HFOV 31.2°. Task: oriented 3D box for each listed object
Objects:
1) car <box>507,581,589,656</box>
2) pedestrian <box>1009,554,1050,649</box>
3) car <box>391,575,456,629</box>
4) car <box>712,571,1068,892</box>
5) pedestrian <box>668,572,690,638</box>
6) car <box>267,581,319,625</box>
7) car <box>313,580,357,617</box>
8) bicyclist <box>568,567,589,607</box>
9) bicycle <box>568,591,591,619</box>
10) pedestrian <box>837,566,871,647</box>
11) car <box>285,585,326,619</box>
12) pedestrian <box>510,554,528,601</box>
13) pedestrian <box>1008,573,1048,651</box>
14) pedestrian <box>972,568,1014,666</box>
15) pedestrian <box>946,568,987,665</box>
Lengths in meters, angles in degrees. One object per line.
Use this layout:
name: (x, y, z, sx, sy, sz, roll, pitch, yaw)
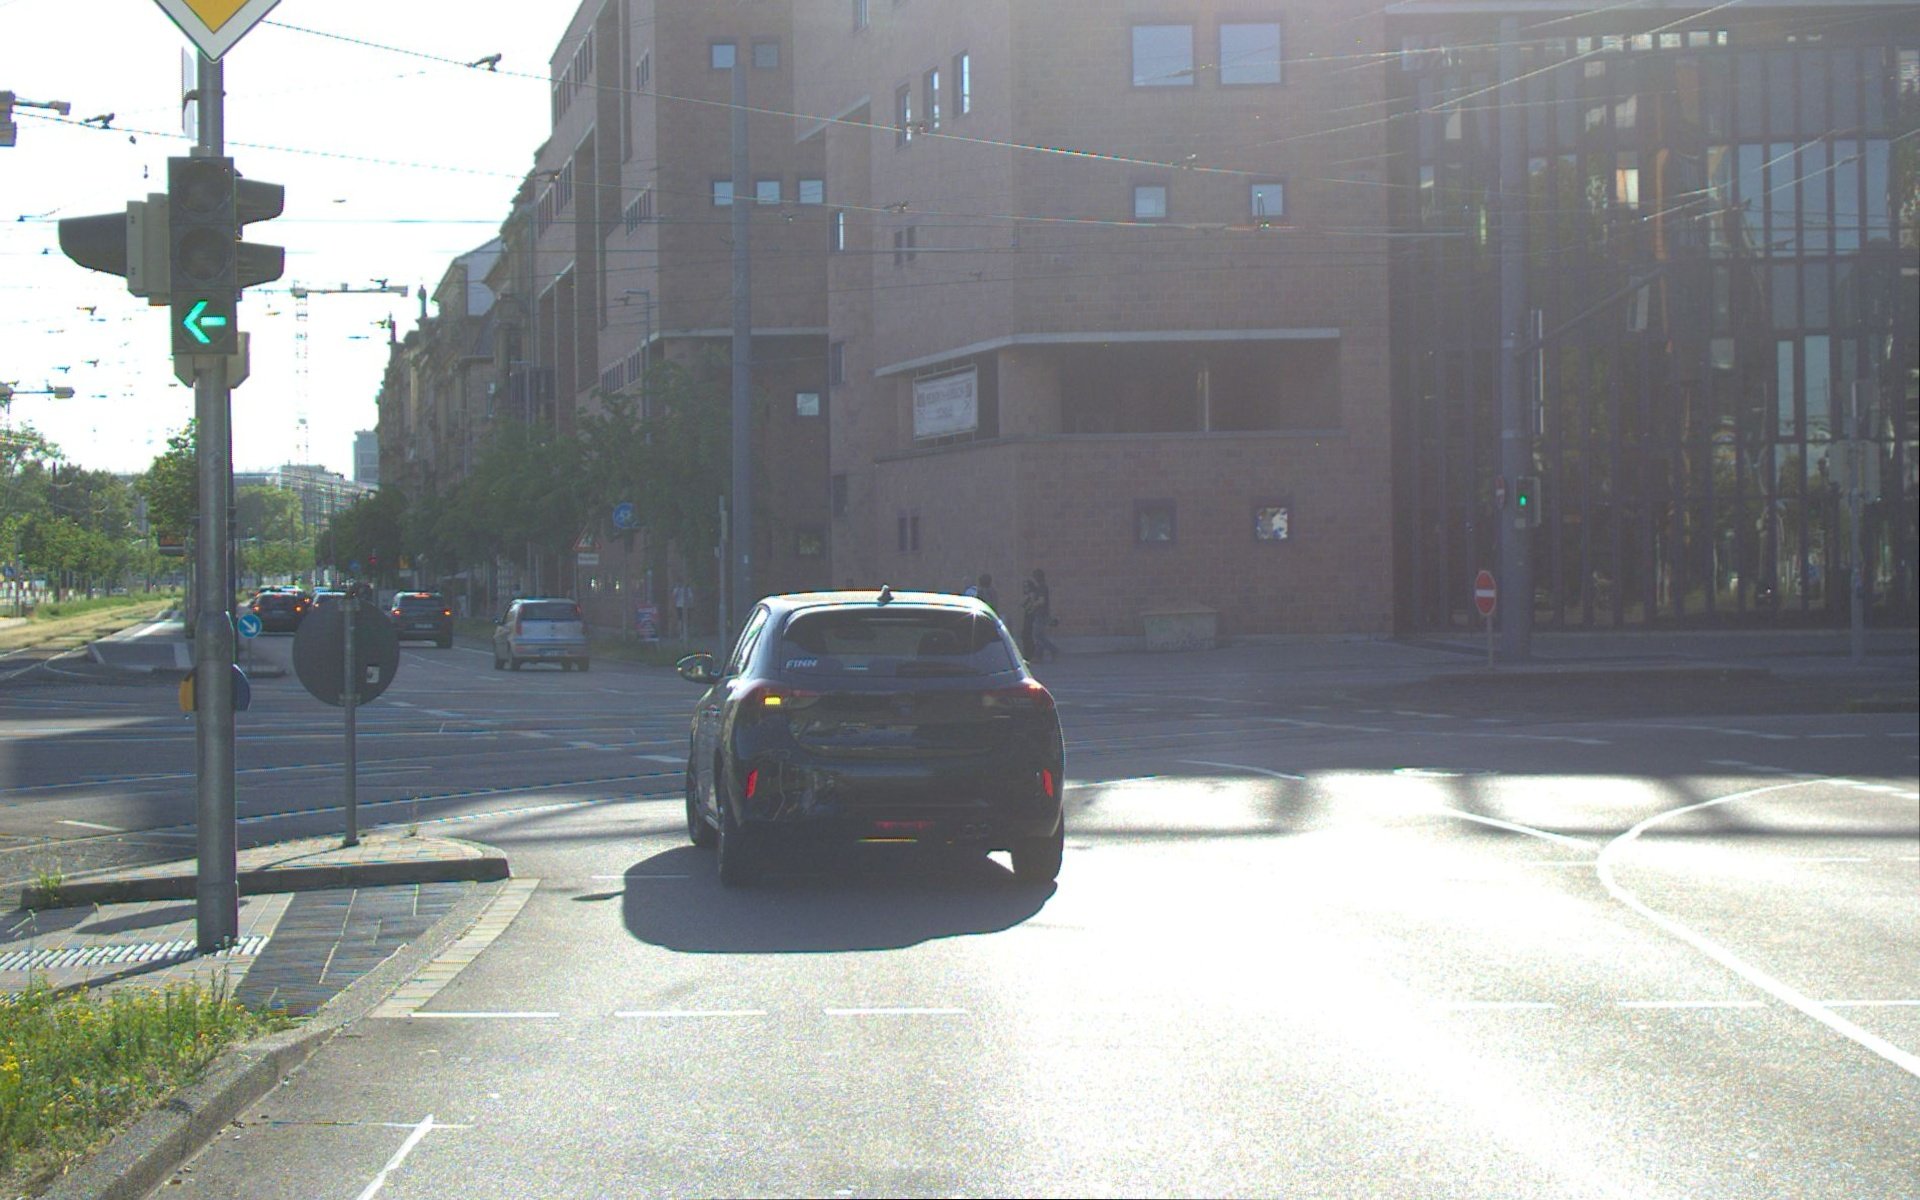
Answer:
car: (-8.424, 0.357, 70.142, 1.559, 1.451, 3.432, -1, 1, -8)
pedestrian: (1.320, 0.035, 65.218, 0.571, 1.780, 0.549, -2, 0, -19)
car: (-15.389, 0.046, 98.535, 1.670, 1.448, 3.699, -2, 1, -11)
car: (-0.346, 0.607, 18.141, 1.672, 1.496, 3.691, 1, 1, 0)
pedestrian: (-7.627, 0.133, 93.429, 0.547, 1.780, 0.573, -1, 3, -8)
car: (-23.074, 0.099, 118.957, 1.720, 1.448, 3.699, -2, 1, -11)
car: (-25.690, -0.076, 141.245, 1.720, 1.448, 3.699, -2, 1, -11)
bicyclist: (-12.888, -0.428, 116.226, 0.645, 1.335, 0.653, -1, 0, -10)
bicycle: (-12.869, 0.171, 116.203, 0.648, 0.901, 2.346, -1, 1, -10)
pedestrian: (-2.372, 0.143, 76.733, 0.640, 1.780, 0.688, -2, 0, -8)
car: (-29.236, 0.093, 153.556, 1.720, 1.448, 3.699, -2, 1, -11)
pedestrian: (-16.992, -0.860, 132.495, 0.640, 1.780, 0.688, -2, 0, -8)
pedestrian: (1.308, 0.223, 66.143, 0.547, 1.472, 0.573, -1, 1, -29)
pedestrian: (0.610, 0.317, 63.439, 0.571, 1.780, 0.549, -2, 0, -19)
pedestrian: (0.124, 0.301, 64.112, 0.571, 1.780, 0.549, -2, 0, -19)
